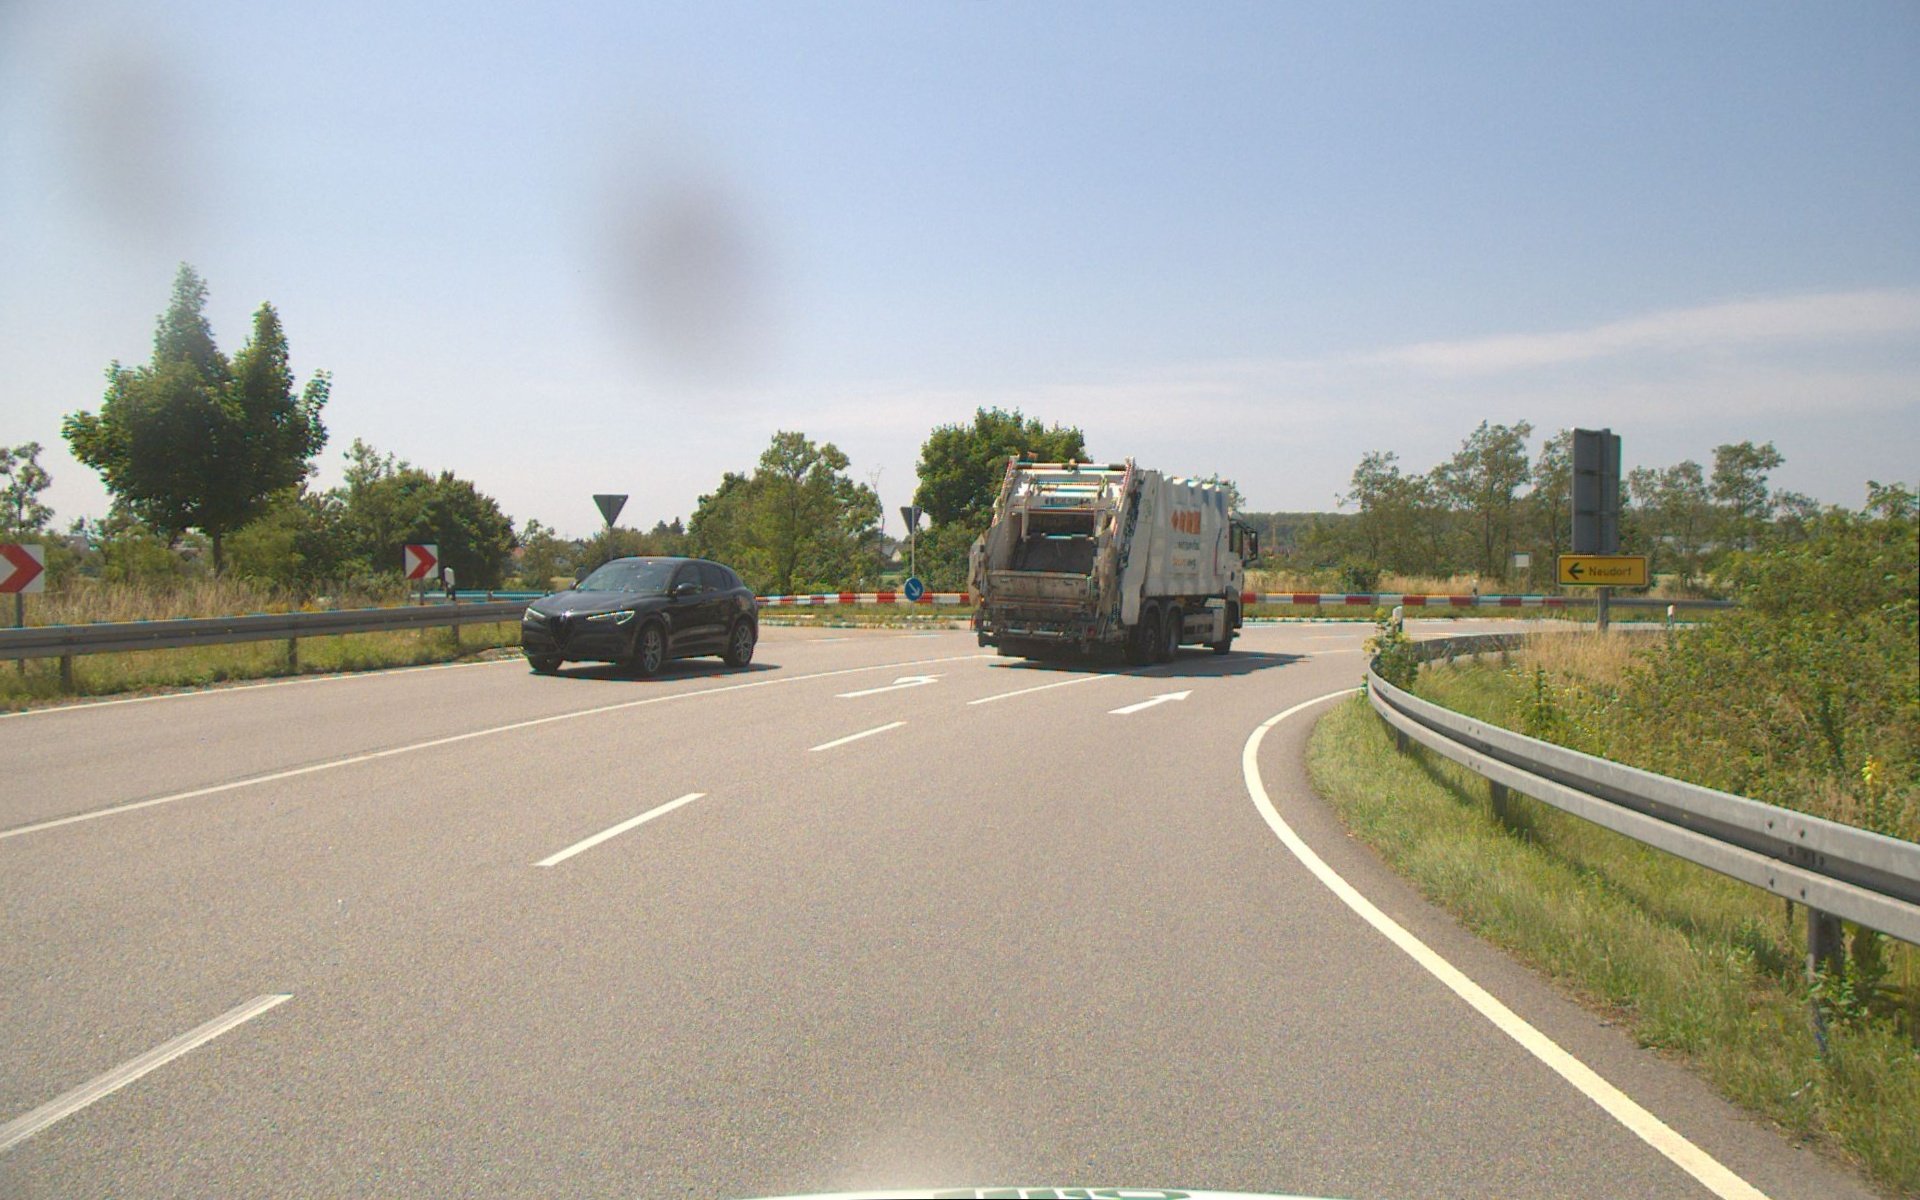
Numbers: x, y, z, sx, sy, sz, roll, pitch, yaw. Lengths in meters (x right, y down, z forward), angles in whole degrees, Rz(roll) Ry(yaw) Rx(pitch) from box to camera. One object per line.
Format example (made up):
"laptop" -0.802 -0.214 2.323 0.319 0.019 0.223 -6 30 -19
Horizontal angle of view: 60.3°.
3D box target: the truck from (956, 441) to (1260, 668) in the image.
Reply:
"truck" 3.252 -0.772 32.367 2.757 3.733 9.942 1 0 24

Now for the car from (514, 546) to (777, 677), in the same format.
"car" -4.514 0.121 24.476 1.676 1.686 4.569 3 1 20
